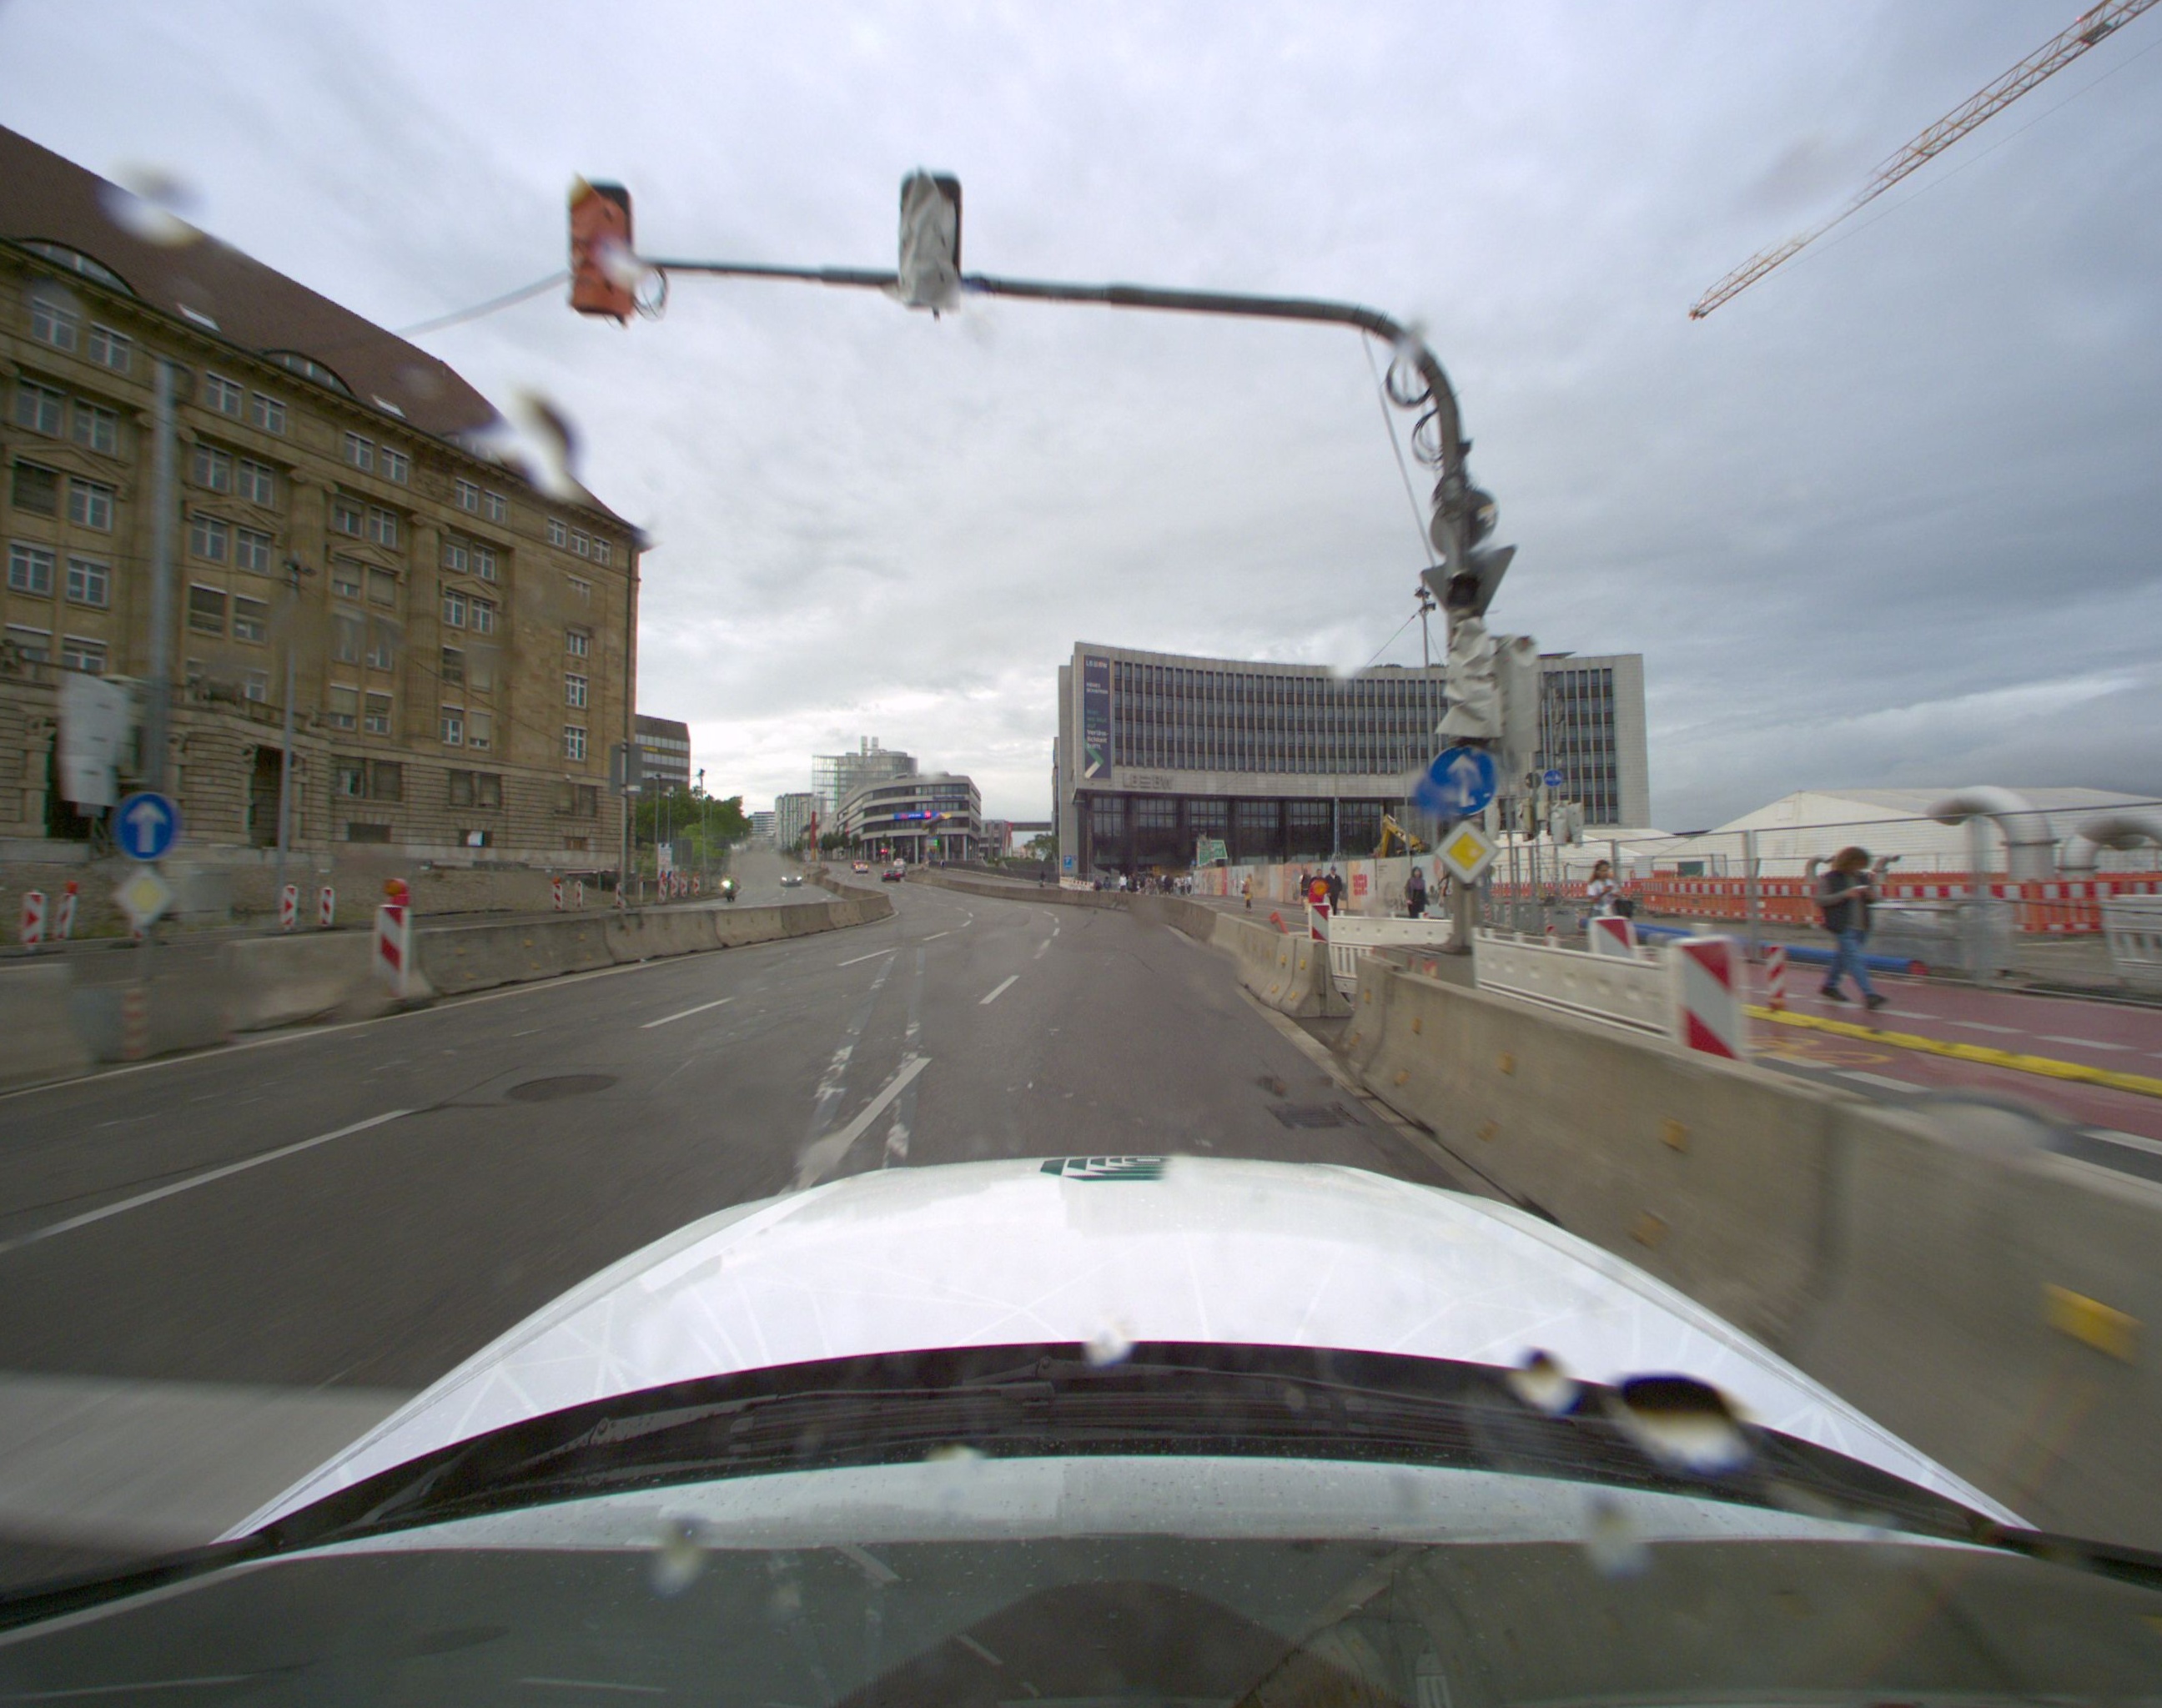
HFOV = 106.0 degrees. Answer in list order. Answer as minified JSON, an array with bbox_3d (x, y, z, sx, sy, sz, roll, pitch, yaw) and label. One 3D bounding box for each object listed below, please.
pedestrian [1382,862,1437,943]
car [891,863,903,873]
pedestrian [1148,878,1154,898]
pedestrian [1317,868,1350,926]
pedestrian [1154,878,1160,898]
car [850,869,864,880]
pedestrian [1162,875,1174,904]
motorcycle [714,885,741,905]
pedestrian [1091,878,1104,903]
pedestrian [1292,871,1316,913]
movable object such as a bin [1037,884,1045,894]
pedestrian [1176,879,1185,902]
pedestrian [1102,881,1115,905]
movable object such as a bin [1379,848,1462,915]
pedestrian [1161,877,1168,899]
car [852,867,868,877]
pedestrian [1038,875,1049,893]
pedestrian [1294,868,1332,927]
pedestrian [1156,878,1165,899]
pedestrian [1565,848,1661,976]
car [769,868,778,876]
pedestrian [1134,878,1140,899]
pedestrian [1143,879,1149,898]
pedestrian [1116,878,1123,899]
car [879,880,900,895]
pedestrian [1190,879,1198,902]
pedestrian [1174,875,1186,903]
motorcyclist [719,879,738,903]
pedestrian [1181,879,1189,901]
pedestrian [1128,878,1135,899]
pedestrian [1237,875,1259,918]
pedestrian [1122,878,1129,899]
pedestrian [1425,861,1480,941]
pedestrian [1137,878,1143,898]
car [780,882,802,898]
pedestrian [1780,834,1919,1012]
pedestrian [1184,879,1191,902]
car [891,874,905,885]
[{"bbox_3d":[7.755,1.131,19.268,0.868,1.862,0.947,0,-2,-3],"label":"pedestrian"},{"bbox_3d":[-31.783,2.439,140.880,1.996,1.804,4.246,0,-2,-13],"label":"car"},{"bbox_3d":[6.047,2.945,69.906,0.445,1.705,0.648,0,-2,9],"label":"pedestrian"},{"bbox_3d":[8.316,1.404,26.859,0.777,1.862,0.810,0,-2,-3],"label":"pedestrian"},{"bbox_3d":[6.516,2.931,69.815,0.445,1.705,0.648,0,-2,9],"label":"pedestrian"},{"bbox_3d":[-37.534,3.388,136.667,1.996,1.804,4.246,0,-2,-13],"label":"car"},{"bbox_3d":[6.202,2.519,57.960,0.780,2.014,0.864,0,-2,7],"label":"pedestrian"},{"bbox_3d":[-21.220,2.466,48.919,0.868,1.149,2.149,0,-2,-7],"label":"motorcycle"},{"bbox_3d":[1.125,2.483,55.537,0.751,1.642,0.820,0,-2,-11],"label":"pedestrian"},{"bbox_3d":[10.058,1.708,36.724,0.777,1.862,0.810,-1,-2,-3],"label":"pedestrian"},{"bbox_3d":[-3.890,3.415,79.804,0.600,0.934,0.737,1,-3,-21],"label":"movable object such as a bin"},{"bbox_3d":[7.474,2.728,61.240,0.623,1.705,0.646,0,-2,-1],"label":"pedestrian"},{"bbox_3d":[1.874,2.650,55.706,0.659,1.642,0.820,0,-2,-11],"label":"pedestrian"},{"bbox_3d":[21.351,1.776,51.304,3.099,4.031,3.669,1,-3,-22],"label":"movable object such as a bin"},{"bbox_3d":[6.887,2.793,67.268,0.527,1.818,0.536,0,-2,0],"label":"pedestrian"},{"bbox_3d":[-33.153,2.711,121.906,1.749,1.506,3.723,1,-3,-25],"label":"car"},{"bbox_3d":[-3.699,2.979,80.280,0.759,1.791,1.050,1,-3,-20],"label":"pedestrian"},{"bbox_3d":[7.417,1.381,26.065,0.817,1.828,1.110,-1,-3,-2],"label":"pedestrian"},{"bbox_3d":[6.673,2.900,68.396,0.515,1.705,0.568,1,-3,-37],"label":"pedestrian"},{"bbox_3d":[8.062,0.861,12.395,0.777,1.862,0.948,0,-2,-3],"label":"pedestrian"},{"bbox_3d":[-59.990,3.587,158.964,1.607,1.352,3.727,1,-5,-20],"label":"car"},{"bbox_3d":[4.593,2.828,66.812,0.447,1.705,0.646,0,-2,-4],"label":"pedestrian"},{"bbox_3d":[5.579,2.962,69.985,0.445,1.705,0.648,0,-2,9],"label":"pedestrian"},{"bbox_3d":[3.144,2.833,66.664,0.447,1.705,0.646,0,-2,-4],"label":"pedestrian"},{"bbox_3d":[-21.172,3.695,90.101,1.681,1.508,3.715,1,-5,-23],"label":"car"},{"bbox_3d":[8.525,2.718,61.271,0.501,1.705,0.646,0,-2,-1],"label":"pedestrian"},{"bbox_3d":[7.000,2.483,57.679,0.780,2.014,0.864,0,-2,7],"label":"pedestrian"},{"bbox_3d":[-21.188,2.238,48.980,0.797,1.451,0.823,0,-3,-7],"label":"motorcyclist"},{"bbox_3d":[8.119,2.790,63.381,0.498,1.705,0.732,0,-2,-1],"label":"pedestrian"},{"bbox_3d":[4.119,2.797,66.769,0.452,1.705,0.646,0,-2,-4],"label":"pedestrian"},{"bbox_3d":[7.161,1.817,34.982,0.730,1.854,0.831,0,-3,-1],"label":"pedestrian"},{"bbox_3d":[3.637,2.827,66.705,0.447,1.705,0.646,0,-2,-4],"label":"pedestrian"},{"bbox_3d":[8.920,1.116,19.588,0.777,1.862,1.057,0,-2,-3],"label":"pedestrian"},{"bbox_3d":[5.102,2.928,70.061,0.445,1.705,0.648,0,-2,9],"label":"pedestrian"},{"bbox_3d":[-26.943,3.367,75.661,1.609,1.352,3.722,2,-5,-24],"label":"car"},{"bbox_3d":[8.412,0.731,8.952,0.688,1.862,0.810,0,-2,-3],"label":"pedestrian"},{"bbox_3d":[8.029,2.722,61.239,0.447,1.705,0.646,0,-2,0],"label":"pedestrian"},{"bbox_3d":[-24.757,3.446,110.216,1.827,1.353,3.847,0,-2,-13],"label":"car"}]
